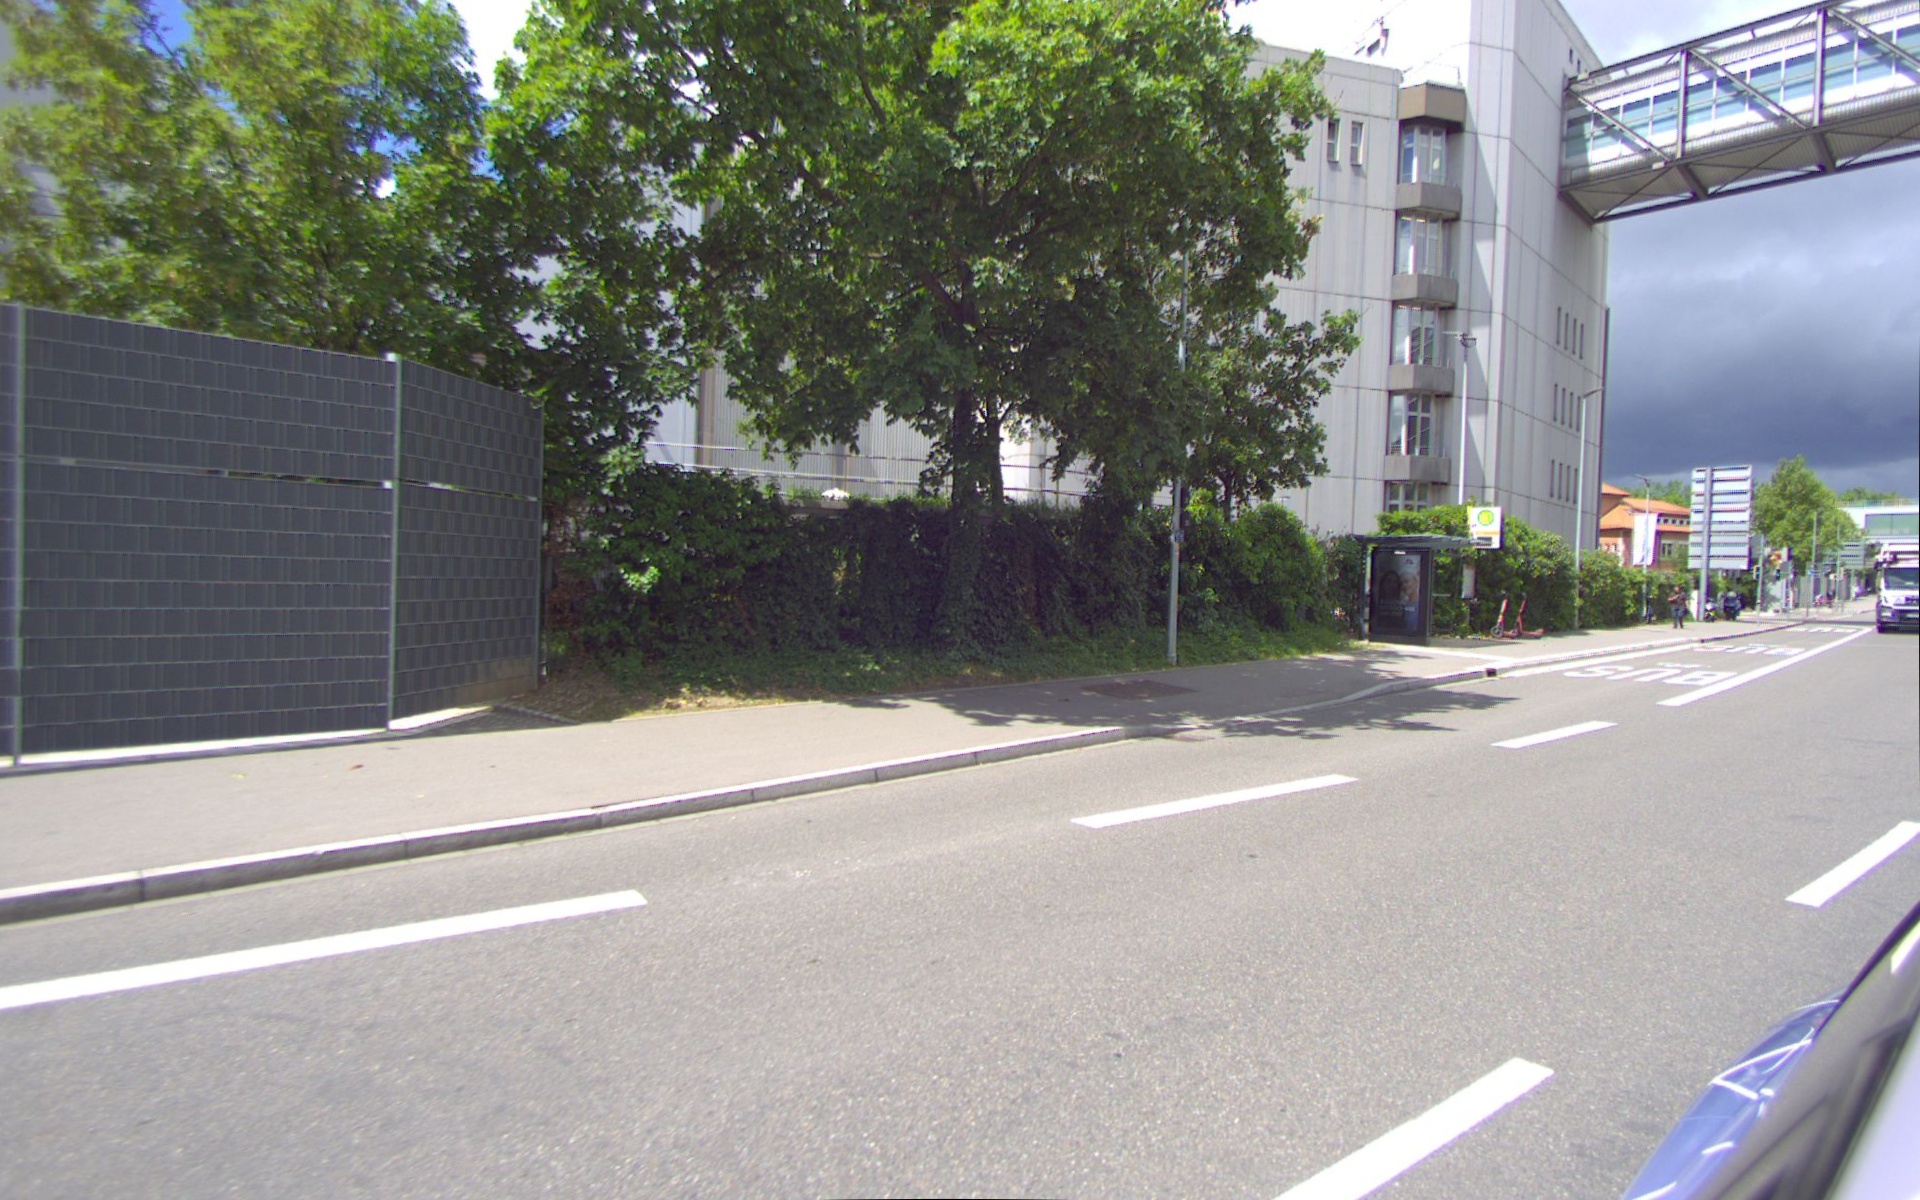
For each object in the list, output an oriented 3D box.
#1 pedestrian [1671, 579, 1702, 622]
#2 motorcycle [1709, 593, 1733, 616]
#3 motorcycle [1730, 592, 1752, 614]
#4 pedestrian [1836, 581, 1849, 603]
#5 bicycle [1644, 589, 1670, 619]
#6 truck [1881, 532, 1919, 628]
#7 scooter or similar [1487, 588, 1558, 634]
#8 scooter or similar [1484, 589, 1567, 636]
[{"bbox_3d":[28.778,0.004,40.077,0.810,1.665,0.982,4,3,44],"label":"pedestrian"},{"bbox_3d":[36.951,0.219,49.136,2.003,1.080,0.591,0,3,-44],"label":"motorcycle"},{"bbox_3d":[41.084,0.162,53.254,2.003,1.080,0.591,0,3,-44],"label":"motorcycle"},{"bbox_3d":[72.409,-0.628,83.004,0.999,1.788,0.728,-1,1,-44],"label":"pedestrian"},{"bbox_3d":[29.124,0.149,42.268,2.428,1.194,0.443,-1,1,-45],"label":"bicycle"},{"bbox_3d":[43.137,-0.905,44.907,10.564,3.934,2.708,-1,1,-44],"label":"truck"},{"bbox_3d":[15.224,0.290,27.387,1.754,1.177,0.544,1,2,-17],"label":"scooter or similar"},{"bbox_3d":[14.836,0.323,26.549,2.082,1.177,0.544,1,2,-17],"label":"scooter or similar"}]
